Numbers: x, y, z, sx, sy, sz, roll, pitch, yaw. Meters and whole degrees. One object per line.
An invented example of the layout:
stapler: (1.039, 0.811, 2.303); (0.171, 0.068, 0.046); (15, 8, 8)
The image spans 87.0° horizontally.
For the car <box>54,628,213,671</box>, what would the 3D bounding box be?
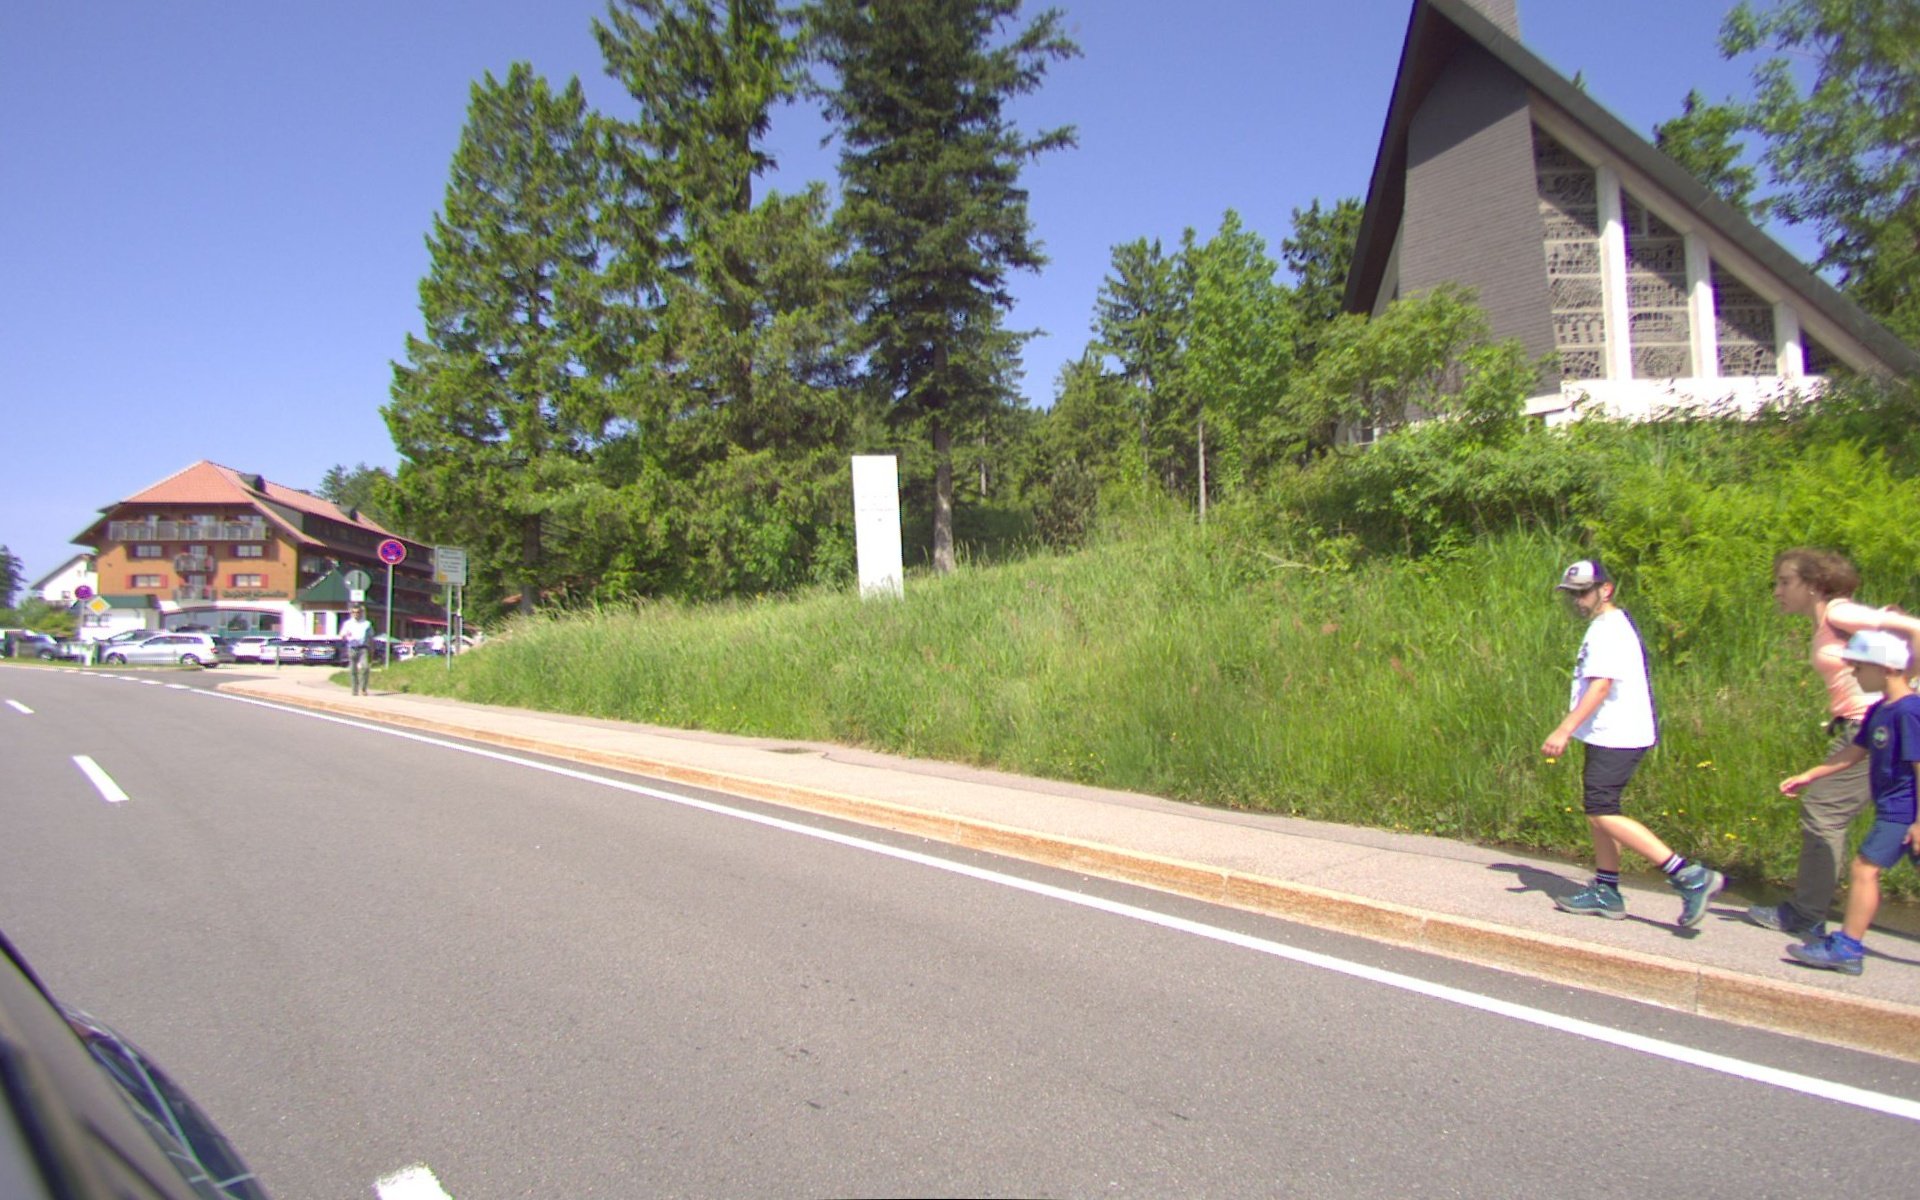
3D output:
car: (-37.818, 2.246, 46.473); (5.272, 1.884, 2.006); (0, -2, -17)

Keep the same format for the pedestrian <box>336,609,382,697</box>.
pedestrian: (-12.240, 1.074, 20.612); (0.686, 1.755, 0.573); (-2, -3, 39)

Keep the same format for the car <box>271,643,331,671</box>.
car: (-35.877, 3.119, 55.190); (1.614, 1.445, 3.323); (0, -3, -11)

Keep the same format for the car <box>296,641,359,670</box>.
car: (-33.184, 2.915, 53.191); (1.690, 1.445, 3.323); (0, -3, -11)

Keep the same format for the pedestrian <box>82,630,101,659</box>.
pedestrian: (-52.091, 2.683, 60.724); (0.684, 1.712, 0.769); (-2, -3, 44)

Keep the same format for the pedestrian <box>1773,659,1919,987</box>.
pedestrian: (3.511, 0.783, 3.688); (0.561, 1.110, 0.746); (2, -3, -42)

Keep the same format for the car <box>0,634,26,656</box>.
car: (-86.774, 3.998, 90.135); (5.177, 1.920, 2.002); (1, -3, -44)

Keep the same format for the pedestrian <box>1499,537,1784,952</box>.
pedestrian: (2.888, 0.554, 4.315); (0.574, 1.549, 0.880); (2, -3, -45)

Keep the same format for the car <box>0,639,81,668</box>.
car: (-52.882, 3.071, 58.083); (3.284, 1.604, 1.718); (0, -2, -5)

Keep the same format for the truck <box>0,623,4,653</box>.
truck: (-93.553, 3.609, 94.282); (2.821, 2.851, 8.786); (0, -1, -16)

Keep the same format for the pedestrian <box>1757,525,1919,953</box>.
pedestrian: (3.912, 0.543, 4.142); (0.569, 1.655, 0.895); (2, -3, -42)

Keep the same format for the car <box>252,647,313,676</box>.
car: (-38.442, 3.487, 57.480); (1.703, 1.476, 3.529); (0, -1, -12)

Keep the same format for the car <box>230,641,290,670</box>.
car: (-40.844, 3.230, 59.093); (1.687, 1.564, 3.140); (0, -1, -9)

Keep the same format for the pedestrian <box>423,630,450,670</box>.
pedestrian: (-23.468, 2.248, 45.387); (0.899, 1.754, 0.637); (0, -2, -4)

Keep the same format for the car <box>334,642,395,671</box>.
car: (-30.579, 2.906, 52.073); (1.685, 1.406, 3.323); (0, -3, -11)

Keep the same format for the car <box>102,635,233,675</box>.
car: (-33.103, 2.277, 42.392); (3.898, 1.600, 1.794); (0, -2, -12)
